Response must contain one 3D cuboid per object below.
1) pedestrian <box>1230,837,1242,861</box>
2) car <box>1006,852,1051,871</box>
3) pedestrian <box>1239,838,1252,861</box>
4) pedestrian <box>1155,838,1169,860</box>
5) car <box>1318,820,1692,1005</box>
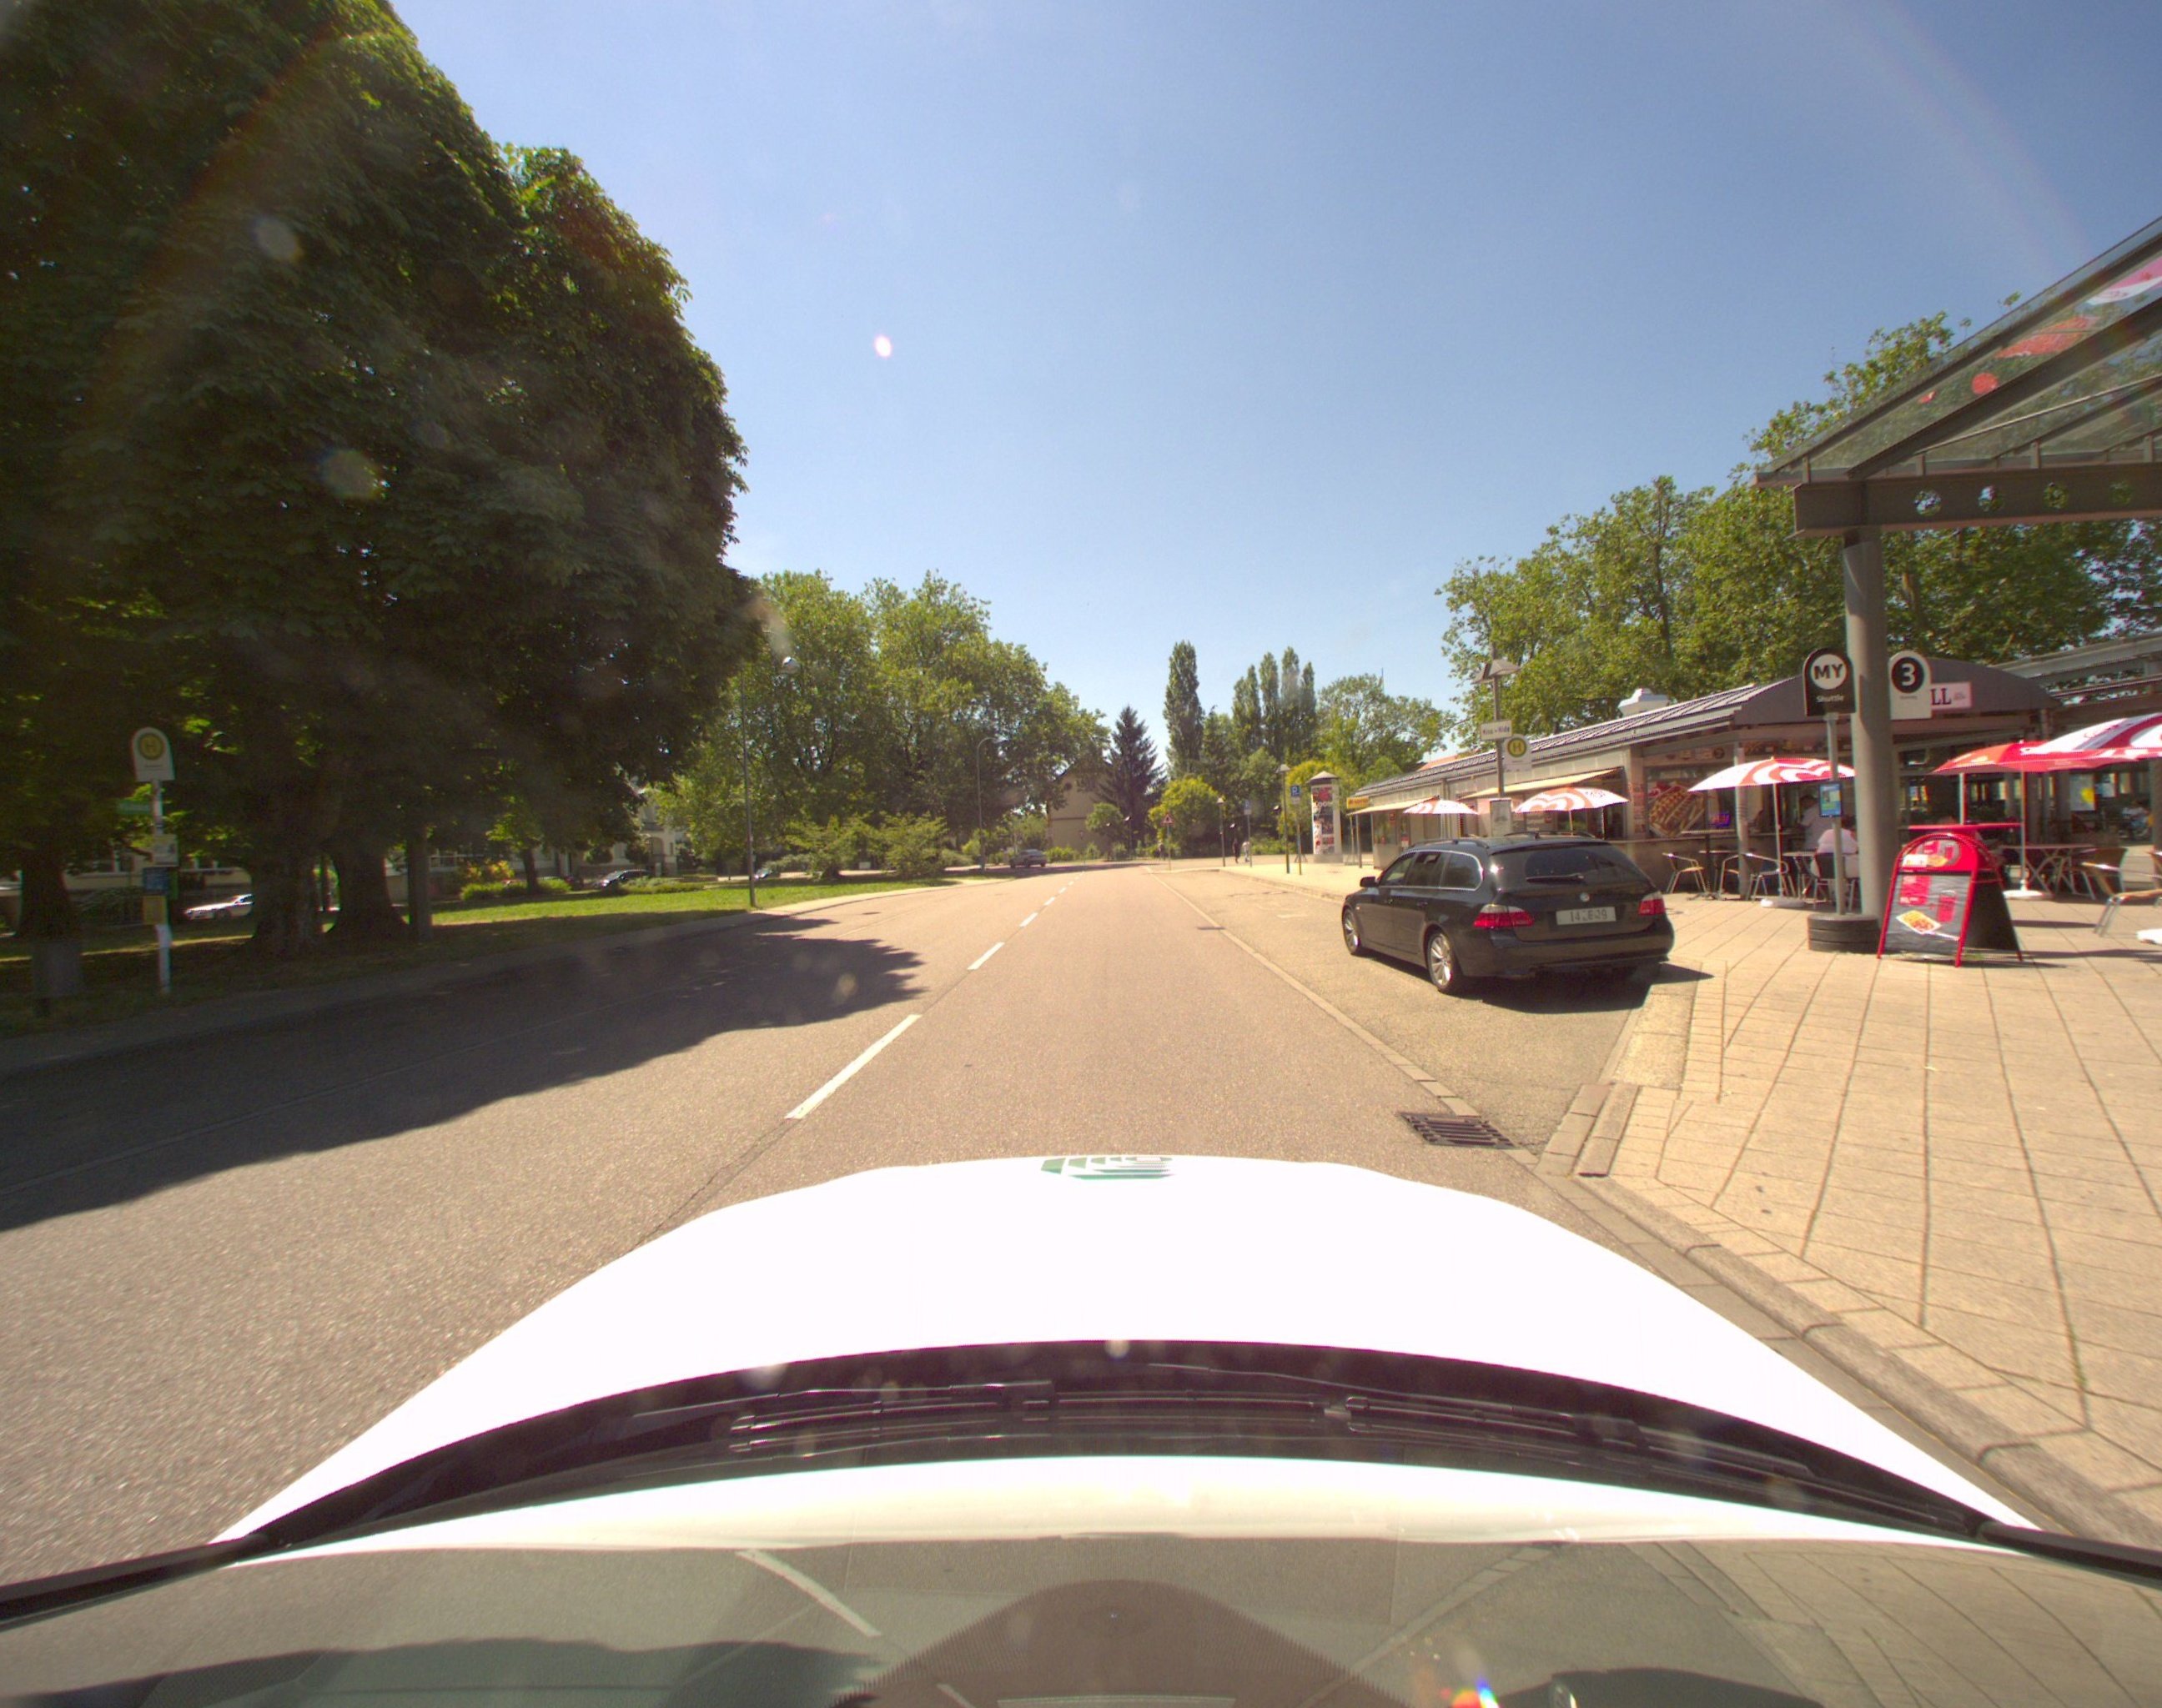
[{"bbox_3d":[11.121,-0.348,58.463,0.629,1.649,0.755,-3,-2,30],"label":"pedestrian"},{"bbox_3d":[-5.000,0.720,76.679,1.998,1.626,4.725,-3,1,-36],"label":"car"},{"bbox_3d":[12.082,-0.301,59.821,0.713,1.649,0.755,-3,-2,30],"label":"pedestrian"},{"bbox_3d":[7.226,-0.454,72.831,0.810,1.965,0.847,-3,0,-37],"label":"pedestrian"},{"bbox_3d":[4.430,0.503,9.553,1.920,1.460,4.726,-5,0,1],"label":"car"}]
